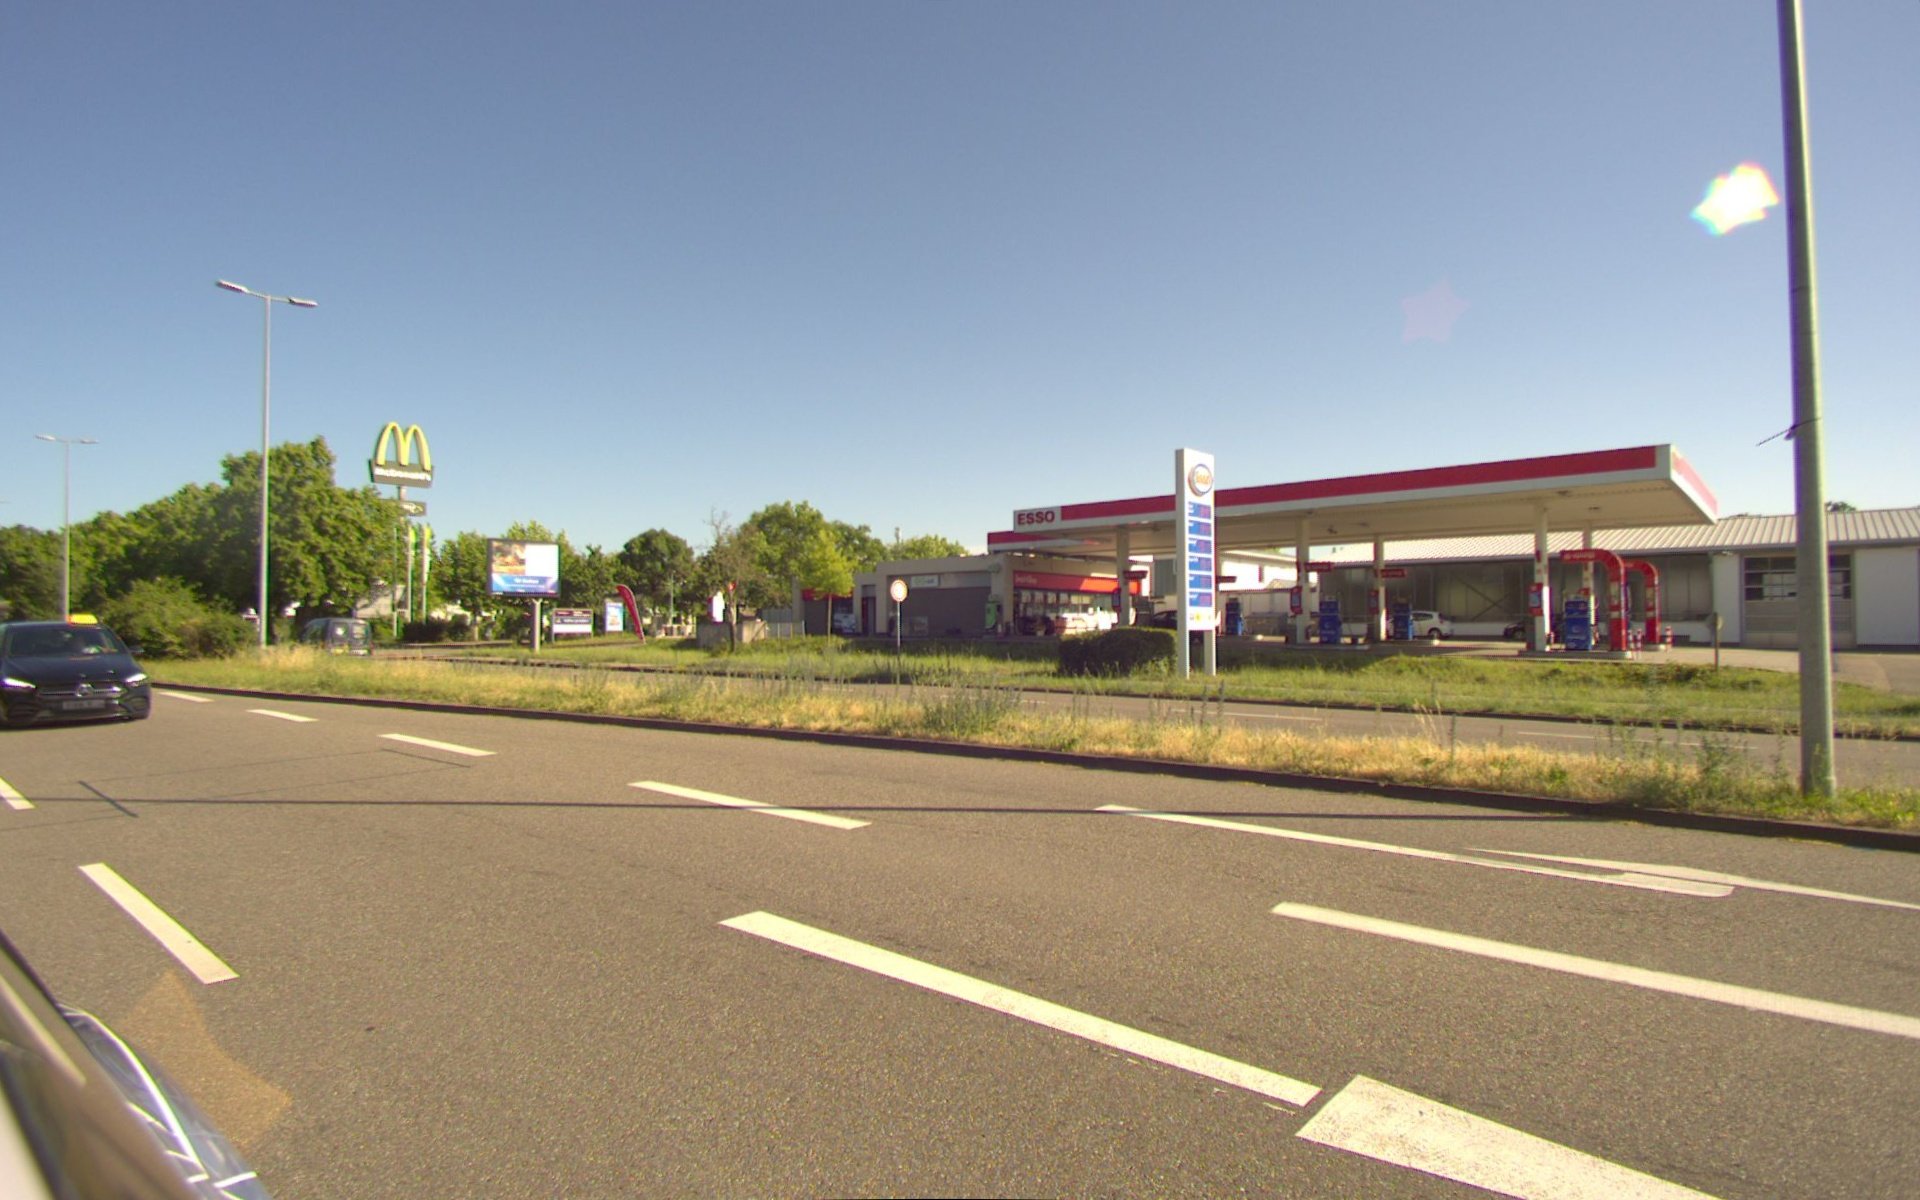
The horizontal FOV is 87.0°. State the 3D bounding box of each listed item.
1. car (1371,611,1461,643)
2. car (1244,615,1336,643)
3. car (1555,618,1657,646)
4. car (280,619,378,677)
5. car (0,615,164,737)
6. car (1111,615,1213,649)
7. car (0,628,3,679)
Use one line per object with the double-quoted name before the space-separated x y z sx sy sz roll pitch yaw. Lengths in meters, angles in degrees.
"car" 23.394 1.359 51.980 3.855 1.500 1.973 -1 0 41
"car" 18.479 1.585 56.745 4.540 1.477 1.973 -1 0 41
"car" 29.624 1.442 46.466 3.729 1.196 1.658 -1 0 41
"car" -21.975 1.603 35.181 4.292 1.862 1.660 -1 0 41
"car" -13.986 1.075 15.655 4.580 1.614 1.765 -2 -1 40
"car" 8.898 1.407 44.705 3.998 1.416 1.973 -2 -2 41
"car" -31.295 1.651 31.402 4.461 1.521 1.927 -1 0 41
